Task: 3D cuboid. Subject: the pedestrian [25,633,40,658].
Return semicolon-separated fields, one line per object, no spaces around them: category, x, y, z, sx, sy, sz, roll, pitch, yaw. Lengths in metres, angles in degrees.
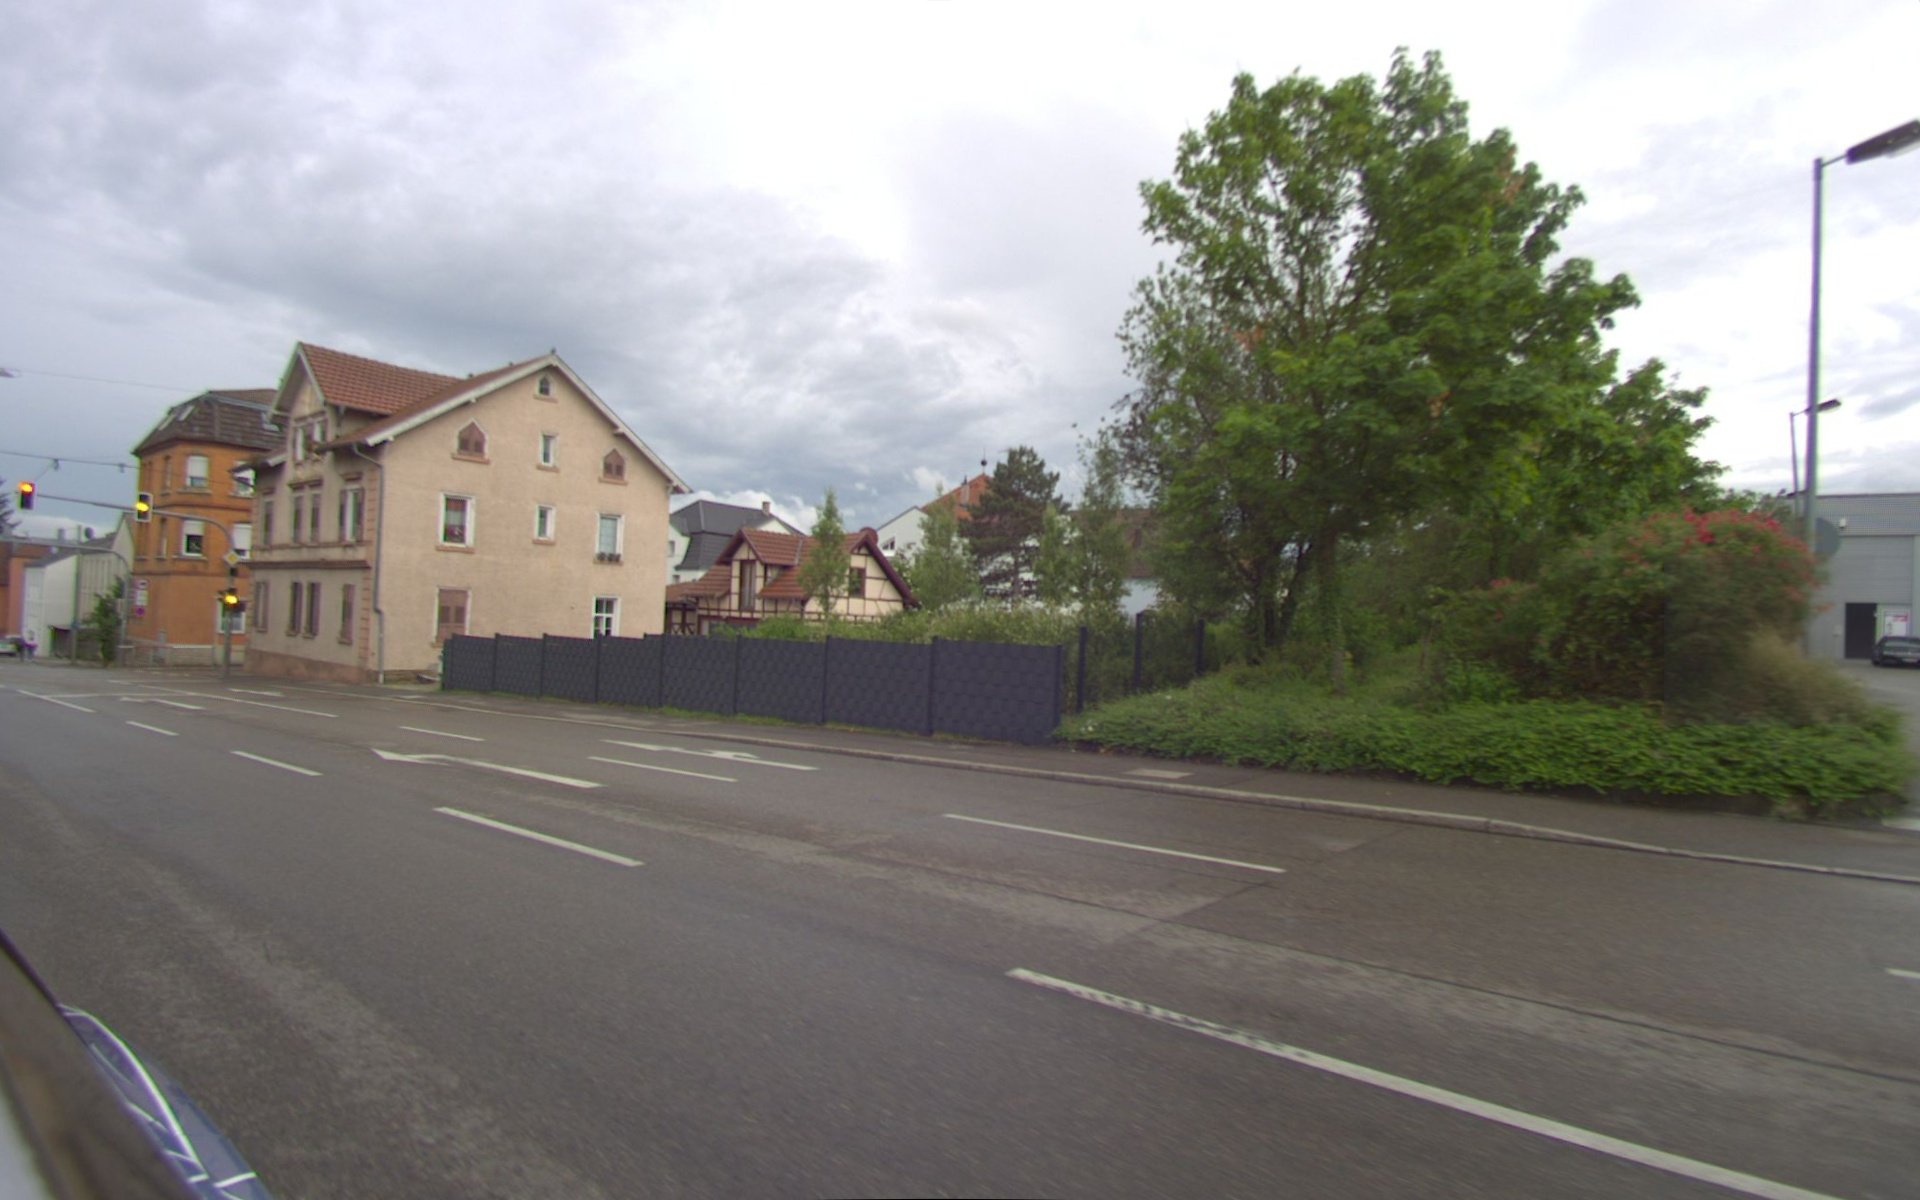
pedestrian;-65.884;3.219;71.885;0.911;1.719;0.633;-2;-3;42

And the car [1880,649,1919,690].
car;42.795;3.109;45.432;1.998;1.697;3.947;-1;-2;39

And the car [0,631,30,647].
car;-95.900;3.896;100.915;2.153;1.620;4.482;-2;-2;43

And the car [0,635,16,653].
car;-82.095;3.721;86.401;4.175;1.519;1.727;-2;-4;41

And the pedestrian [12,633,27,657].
pedestrian;-66.329;3.176;71.376;0.911;1.719;0.633;-2;-3;42

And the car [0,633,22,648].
car;-97.859;4.087;102.453;2.000;1.444;4.117;-2;-2;43
